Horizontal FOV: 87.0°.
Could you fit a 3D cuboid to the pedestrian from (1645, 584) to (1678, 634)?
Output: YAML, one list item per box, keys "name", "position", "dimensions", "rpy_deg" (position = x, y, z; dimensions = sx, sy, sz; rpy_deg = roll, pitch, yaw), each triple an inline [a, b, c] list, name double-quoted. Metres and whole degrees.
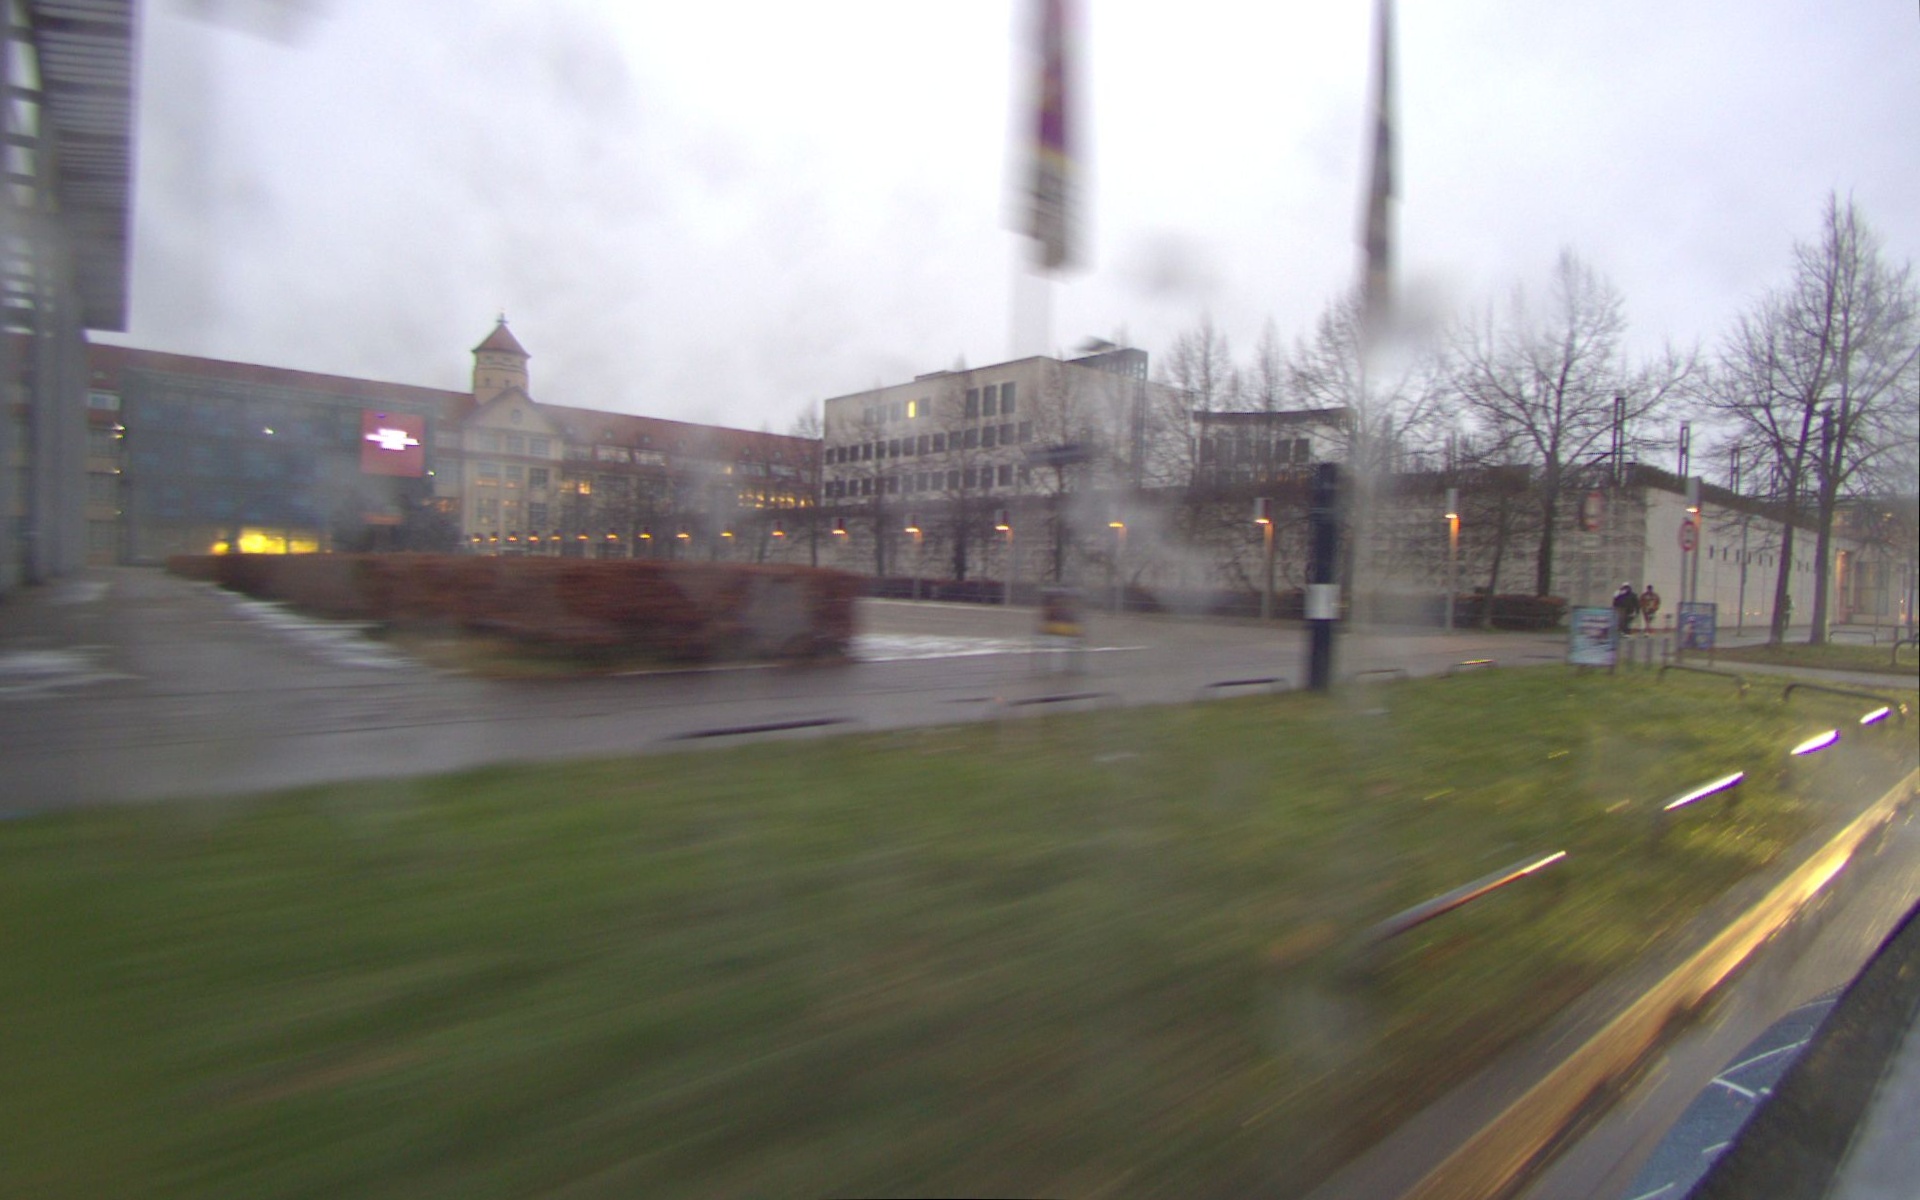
- name: "pedestrian"
  position: [22.968, 0.282, 33.154]
  dimensions: [0.602, 1.632, 0.676]
  rpy_deg: [0, 0, -26]

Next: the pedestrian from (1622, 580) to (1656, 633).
- name: "pedestrian"
  position: [21.509, 0.195, 32.069]
  dimensions: [0.601, 1.646, 0.676]
  rpy_deg: [0, 0, -25]

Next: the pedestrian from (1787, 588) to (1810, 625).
- name: "pedestrian"
  position: [39.125, 0.292, 47.214]
  dimensions: [0.667, 1.675, 0.979]
  rpy_deg: [3, 3, 44]

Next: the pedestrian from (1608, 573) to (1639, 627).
- name: "pedestrian"
  position: [22.387, 0.004, 34.140]
  dimensions: [0.602, 1.800, 0.676]
  rpy_deg: [0, 0, -27]
